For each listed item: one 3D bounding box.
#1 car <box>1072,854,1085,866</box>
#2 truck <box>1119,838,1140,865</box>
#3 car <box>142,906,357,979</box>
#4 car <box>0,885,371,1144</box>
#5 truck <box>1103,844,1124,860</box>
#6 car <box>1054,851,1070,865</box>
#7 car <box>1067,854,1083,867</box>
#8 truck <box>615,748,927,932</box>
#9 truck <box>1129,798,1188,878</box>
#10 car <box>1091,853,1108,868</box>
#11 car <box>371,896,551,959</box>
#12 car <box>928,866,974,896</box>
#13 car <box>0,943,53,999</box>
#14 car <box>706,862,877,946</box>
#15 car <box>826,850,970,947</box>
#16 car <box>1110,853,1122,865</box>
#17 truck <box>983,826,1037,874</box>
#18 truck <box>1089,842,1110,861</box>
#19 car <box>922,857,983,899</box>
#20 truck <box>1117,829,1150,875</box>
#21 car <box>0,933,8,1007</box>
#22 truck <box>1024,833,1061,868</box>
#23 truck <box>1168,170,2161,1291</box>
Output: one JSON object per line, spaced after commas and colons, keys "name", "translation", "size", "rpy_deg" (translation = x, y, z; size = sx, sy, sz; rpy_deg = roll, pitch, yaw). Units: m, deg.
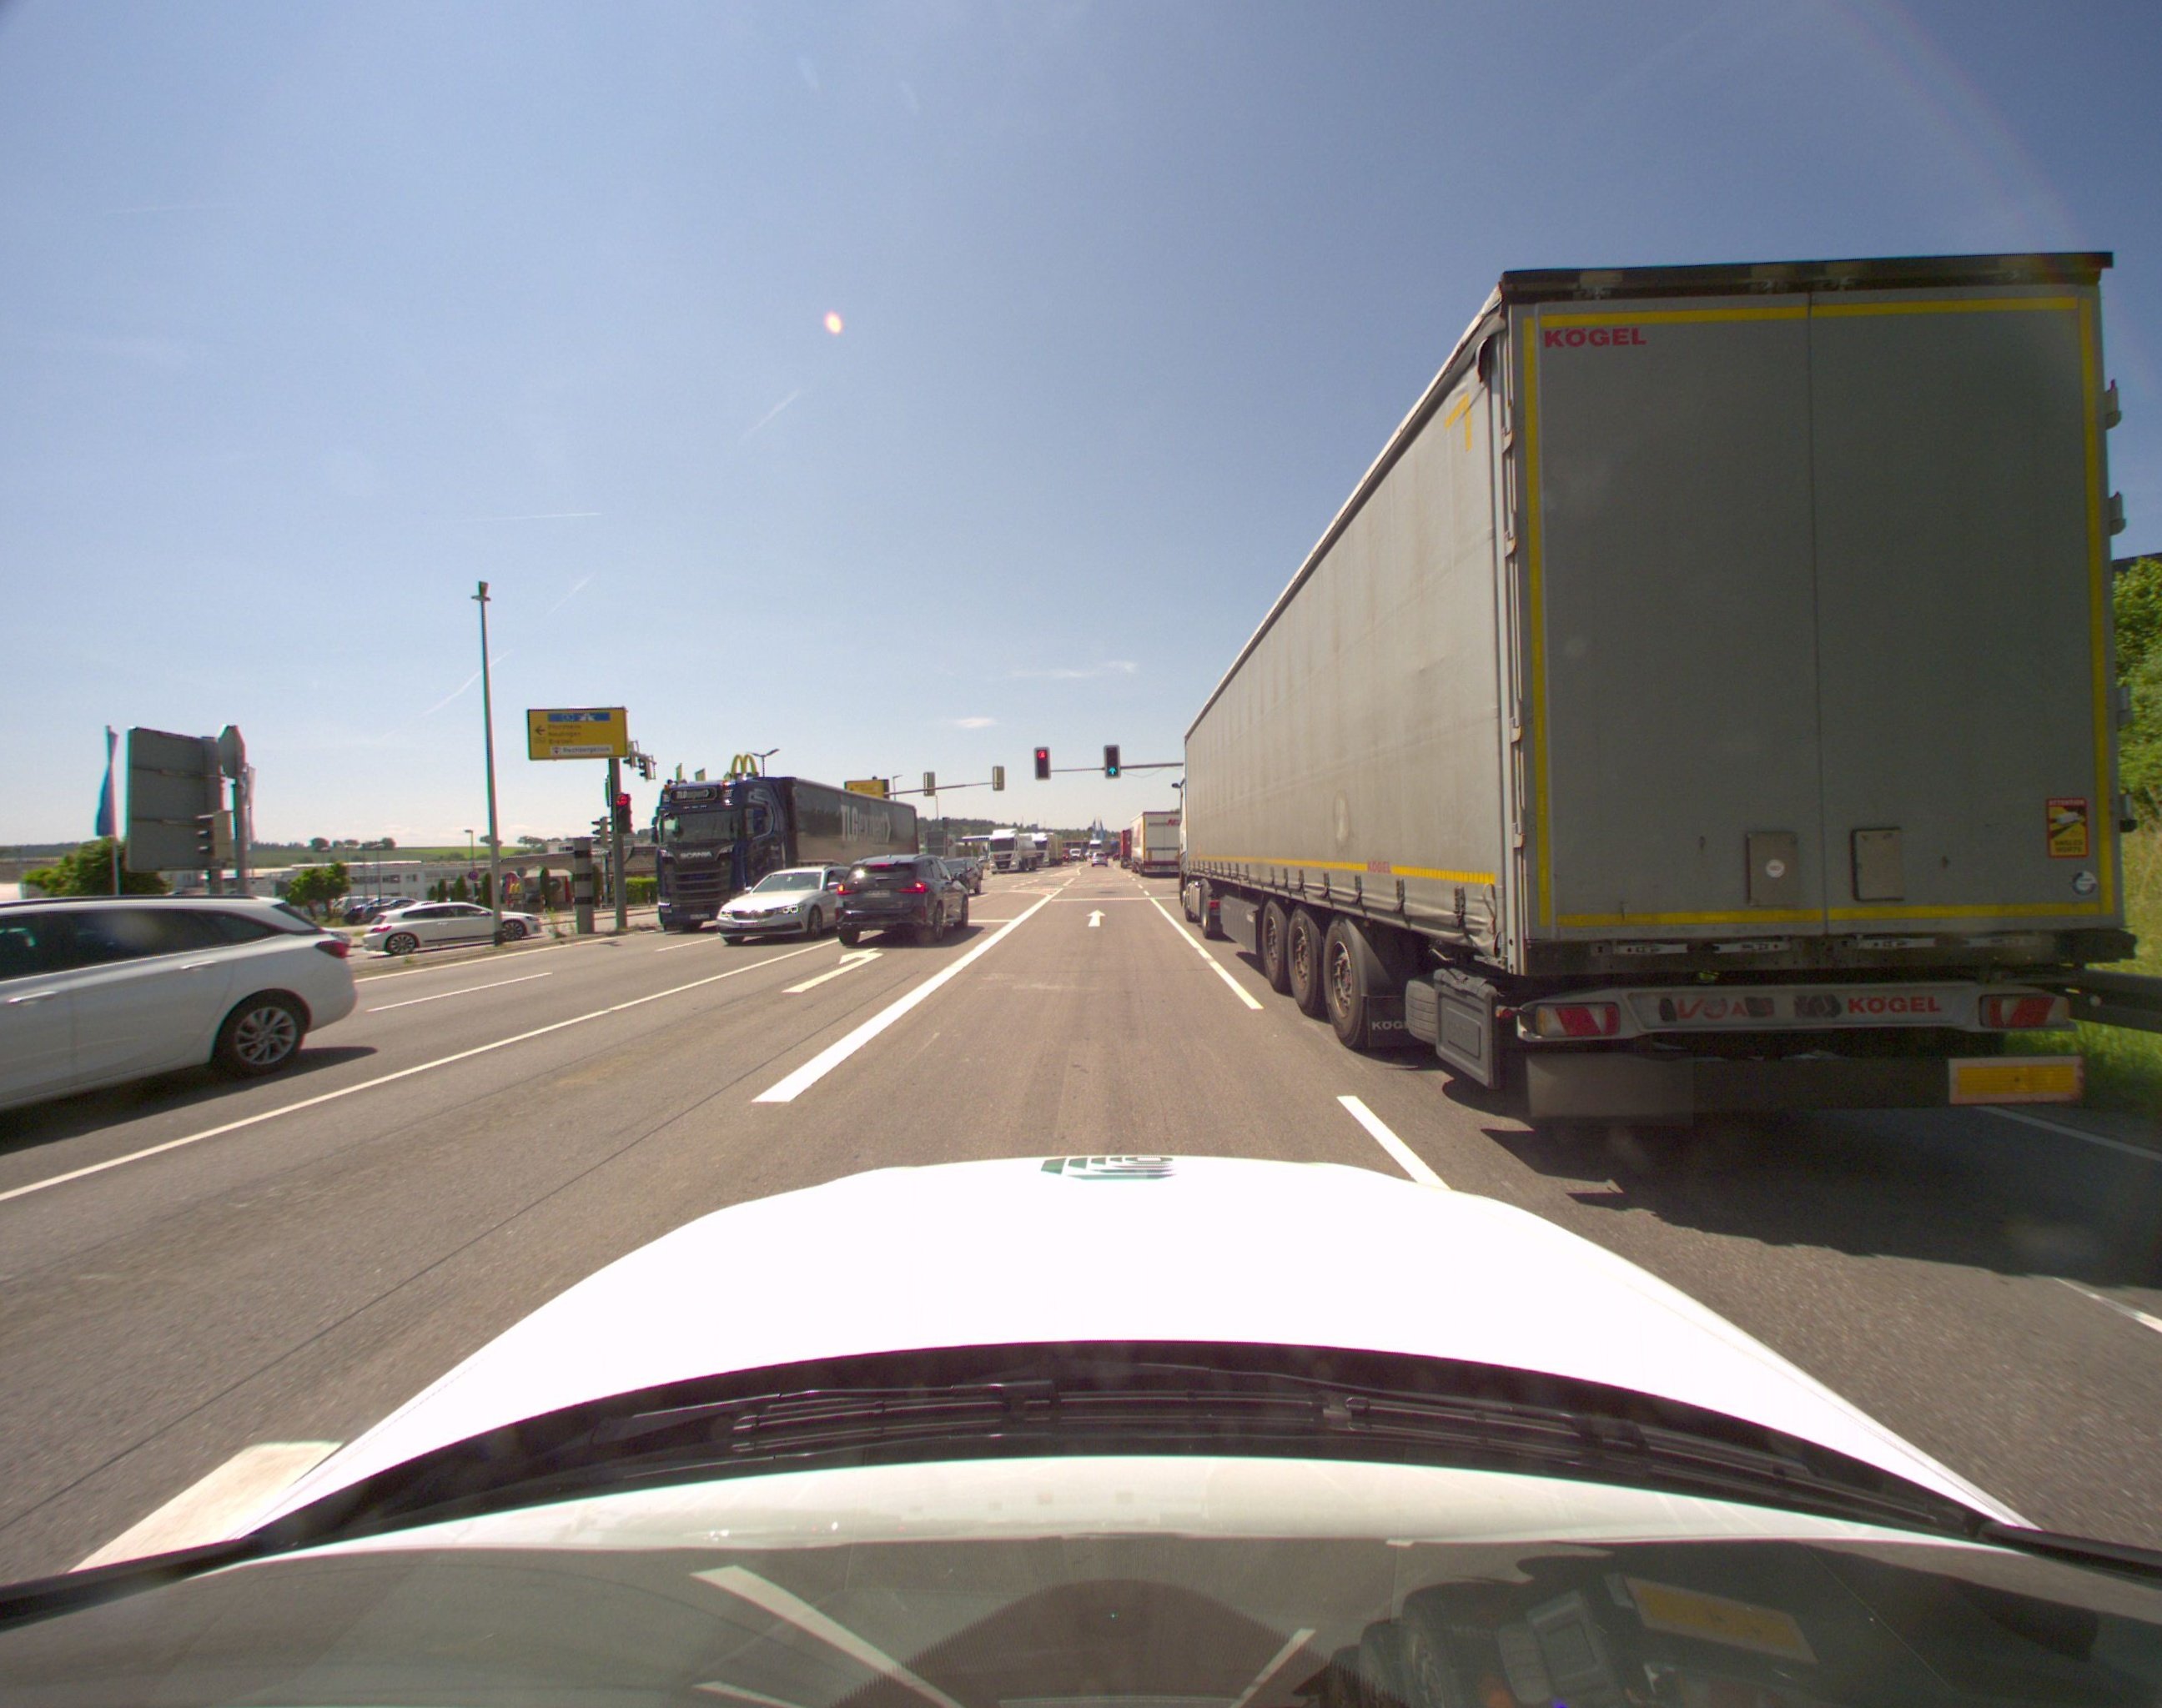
{"name": "car", "translation": [-0.456, 1.120, 145.902], "size": [1.896, 2.014, 4.005], "rpy_deg": [-1, -1, 5]}
{"name": "truck", "translation": [6.947, -0.284, 117.222], "size": [2.598, 3.717, 9.452], "rpy_deg": [-1, -1, 2]}
{"name": "car", "translation": [-23.980, 2.463, 23.622], "size": [1.727, 1.601, 4.224], "rpy_deg": [-3, 0, 41]}
{"name": "car", "translation": [-7.346, 1.040, 5.106], "size": [1.733, 1.503, 4.409], "rpy_deg": [-4, -1, 3]}
{"name": "truck", "translation": [8.268, -0.516, 204.929], "size": [3.251, 3.950, 13.904], "rpy_deg": [-3, 0, 10]}
{"name": "car", "translation": [-2.803, 0.587, 123.312], "size": [1.984, 2.014, 4.005], "rpy_deg": [-1, -1, 5]}
{"name": "car", "translation": [-0.944, 1.100, 138.816], "size": [2.192, 2.013, 4.762], "rpy_deg": [-3, 0, 5]}
{"name": "truck", "translation": [-9.260, -0.359, 28.714], "size": [3.132, 4.349, 17.558], "rpy_deg": [-3, 0, 3]}
{"name": "truck", "translation": [5.054, -0.776, 56.191], "size": [2.864, 4.639, 16.658], "rpy_deg": [-1, -1, 1]}
{"name": "car", "translation": [2.199, 0.737, 94.921], "size": [1.797, 1.670, 4.296], "rpy_deg": [-1, 0, 4]}
{"name": "car", "translation": [-18.633, 2.128, 24.613], "size": [1.767, 1.480, 4.038], "rpy_deg": [-3, 0, 42]}
{"name": "car", "translation": [-7.890, 1.639, 49.870], "size": [1.818, 1.583, 4.248], "rpy_deg": [-4, 0, 3]}
{"name": "car", "translation": [-35.695, 3.882, 27.134], "size": [3.410, 1.564, 1.543], "rpy_deg": [-2, -2, 35]}
{"name": "car", "translation": [-6.195, 0.983, 18.169], "size": [1.803, 1.508, 4.949], "rpy_deg": [-3, 0, 2]}
{"name": "car", "translation": [-3.431, 0.774, 16.164], "size": [1.787, 1.627, 4.369], "rpy_deg": [-2, 0, 0]}
{"name": "car", "translation": [6.419, 0.873, 149.782], "size": [1.984, 2.013, 4.006], "rpy_deg": [-2, 0, 5]}
{"name": "truck", "translation": [-6.433, -0.299, 76.542], "size": [2.922, 3.950, 14.247], "rpy_deg": [-3, 0, 3]}
{"name": "truck", "translation": [4.291, -0.440, 181.647], "size": [3.253, 3.950, 13.891], "rpy_deg": [-1, -1, 7]}
{"name": "car", "translation": [-5.209, 0.933, 33.527], "size": [1.657, 1.508, 3.907], "rpy_deg": [-3, 0, 3]}
{"name": "truck", "translation": [5.566, -0.063, 88.568], "size": [2.864, 4.479, 16.658], "rpy_deg": [-1, -1, 1]}
{"name": "car", "translation": [-25.709, 2.712, 16.605], "size": [1.727, 1.600, 4.439], "rpy_deg": [-4, 1, 41]}
{"name": "truck", "translation": [-4.657, -0.442, 102.083], "size": [2.922, 3.950, 13.877], "rpy_deg": [-3, 0, 3]}
{"name": "truck", "translation": [3.332, -0.369, 11.715], "size": [2.745, 4.639, 16.658], "rpy_deg": [-1, -1, 1]}
